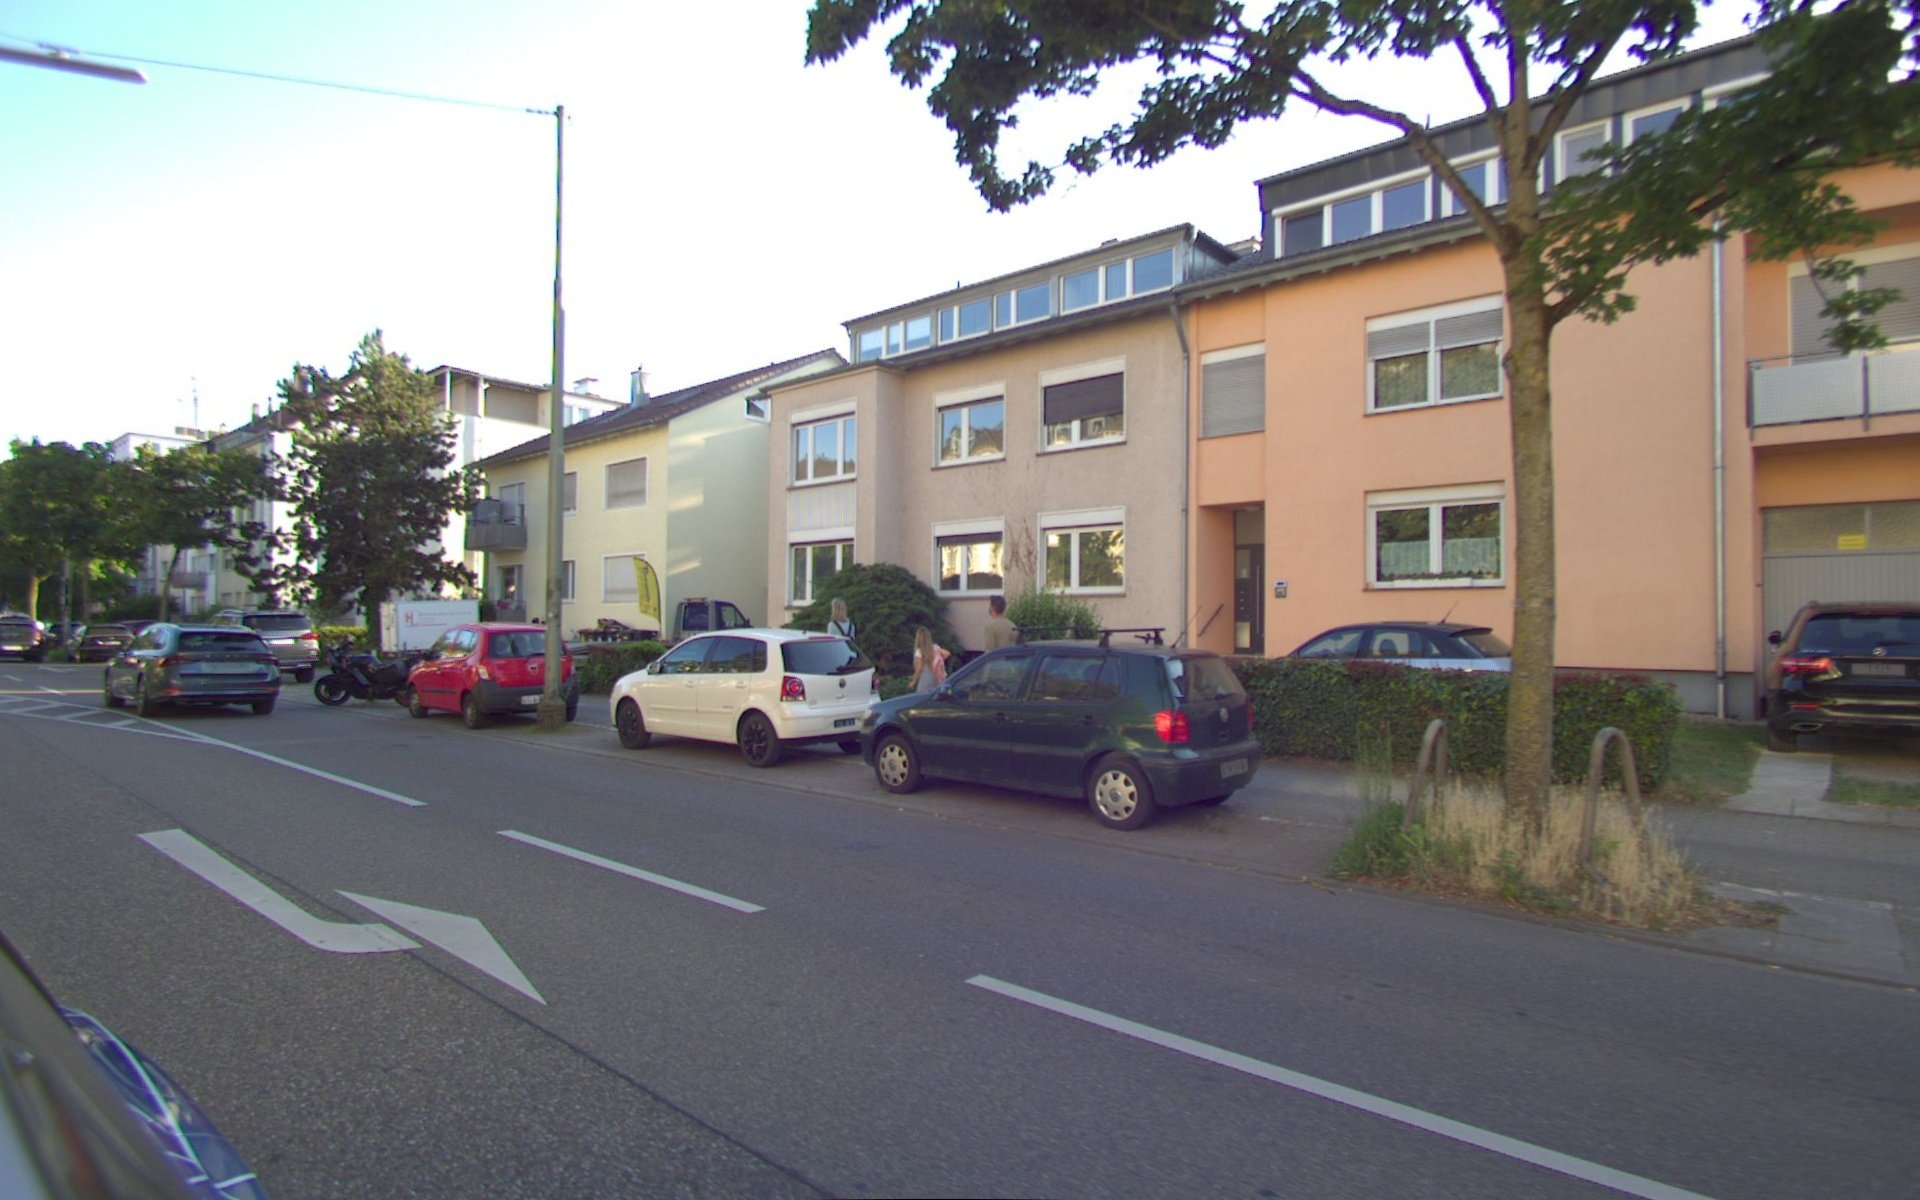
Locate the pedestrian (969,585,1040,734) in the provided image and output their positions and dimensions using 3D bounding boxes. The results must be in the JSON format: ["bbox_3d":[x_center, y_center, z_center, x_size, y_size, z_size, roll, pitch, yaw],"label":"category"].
[{"bbox_3d":[0.564,0.735,12.733,0.572,1.806,0.705,-1,-3,44],"label":"pedestrian"}]

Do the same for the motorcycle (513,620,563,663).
[{"bbox_3d":[-14.148,1.383,33.910,2.257,1.384,0.564,-1,-3,41],"label":"motorcycle"}]

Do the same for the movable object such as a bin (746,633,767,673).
[{"bbox_3d":[-5.523,1.433,27.463,0.349,1.046,0.430,-1,-3,41],"label":"movable object such as a bin"}]

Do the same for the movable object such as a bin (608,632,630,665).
[{"bbox_3d":[-10.968,1.560,32.521,0.450,1.026,0.497,-1,-3,40],"label":"movable object such as a bin"}]

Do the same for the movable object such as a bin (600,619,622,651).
[{"bbox_3d":[-11.337,1.137,32.882,0.450,1.026,0.497,-1,-3,40],"label":"movable object such as a bin"}]

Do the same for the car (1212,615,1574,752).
[{"bbox_3d":[5.183,0.932,12.390,3.752,1.420,1.646,-1,-3,43],"label":"car"}]

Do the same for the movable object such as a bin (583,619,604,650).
[{"bbox_3d":[-12.163,1.156,33.610,0.450,1.026,0.497,-1,-3,40],"label":"movable object such as a bin"}]

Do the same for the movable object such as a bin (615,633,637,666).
[{"bbox_3d":[-10.611,1.561,32.137,0.450,1.026,0.497,-1,-3,40],"label":"movable object such as a bin"}]

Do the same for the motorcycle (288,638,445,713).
[{"bbox_3d":[-10.767,1.335,18.383,2.350,1.276,1.176,0,-2,18],"label":"motorcycle"}]

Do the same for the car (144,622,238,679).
[{"bbox_3d":[-22.152,1.416,29.145,2.747,1.567,1.557,-1,-2,40],"label":"car"}]

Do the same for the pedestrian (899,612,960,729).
[{"bbox_3d":[-0.406,0.918,13.465,0.542,1.507,0.583,-1,-3,44],"label":"pedestrian"}]

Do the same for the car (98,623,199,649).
[{"bbox_3d":[-49.152,2.135,61.385,1.735,1.416,4.516,-1,0,31],"label":"car"}]

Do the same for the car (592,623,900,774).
[{"bbox_3d":[-2.666,1.044,12.152,3.888,1.535,1.577,-1,-2,40],"label":"car"}]

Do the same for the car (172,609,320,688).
[{"bbox_3d":[-17.988,1.168,25.415,4.722,1.793,1.868,-1,-2,40],"label":"car"}]

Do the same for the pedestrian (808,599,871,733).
[{"bbox_3d":[-1.687,0.909,14.164,0.506,1.806,0.705,-1,-3,44],"label":"pedestrian"}]

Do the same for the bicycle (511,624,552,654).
[{"bbox_3d":[-15.743,1.430,37.133,2.045,1.072,0.513,-1,-2,41],"label":"bicycle"}]

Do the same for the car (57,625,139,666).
[{"bbox_3d":[-31.844,1.638,37.339,4.441,1.418,1.620,-1,-2,41],"label":"car"}]

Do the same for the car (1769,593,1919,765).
[{"bbox_3d":[10.464,0.758,11.399,1.865,1.648,3.944,-1,0,42],"label":"car"}]

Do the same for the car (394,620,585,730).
[{"bbox_3d":[-7.454,1.088,15.905,3.437,1.535,1.575,-1,-2,44],"label":"car"}]

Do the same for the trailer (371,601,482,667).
[{"bbox_3d":[-17.156,1.094,32.602,1.551,2.029,2.746,-1,-2,39],"label":"trailer"}]

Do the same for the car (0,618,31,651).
[{"bbox_3d":[-54.501,1.933,57.732,4.190,1.823,1.717,-1,-2,41],"label":"car"}]

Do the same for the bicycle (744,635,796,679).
[{"bbox_3d":[-4.954,1.473,26.312,1.710,1.094,0.329,-1,-3,41],"label":"bicycle"}]

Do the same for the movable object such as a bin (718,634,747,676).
[{"bbox_3d":[-6.074,1.461,27.041,0.586,1.099,0.483,-1,-2,41],"label":"movable object such as a bin"}]

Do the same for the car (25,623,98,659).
[{"bbox_3d":[-39.722,1.791,44.729,3.997,1.497,1.838,-1,-3,40],"label":"car"}]

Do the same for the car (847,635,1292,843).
[{"bbox_3d":[0.821,1.029,8.847,3.664,1.407,1.527,-1,-2,41],"label":"car"}]

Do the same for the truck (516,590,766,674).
[{"bbox_3d":[-9.143,0.945,29.757,2.275,2.202,6.823,-1,-2,41],"label":"truck"}]

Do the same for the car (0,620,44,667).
[{"bbox_3d":[-34.118,1.518,35.925,3.998,1.582,1.816,-1,-4,41],"label":"car"}]

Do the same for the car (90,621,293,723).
[{"bbox_3d":[-12.789,1.127,16.737,4.531,1.463,1.742,-1,-5,41],"label":"car"}]

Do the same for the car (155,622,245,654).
[{"bbox_3d":[-38.785,1.933,51.678,1.686,1.535,3.422,-1,-2,42],"label":"car"}]

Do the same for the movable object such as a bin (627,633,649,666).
[{"bbox_3d":[-10.098,1.551,31.741,0.450,1.026,0.497,-1,-3,40],"label":"movable object such as a bin"}]

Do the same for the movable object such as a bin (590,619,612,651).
[{"bbox_3d":[-11.793,1.149,33.244,0.450,1.026,0.497,-1,-3,40],"label":"movable object such as a bin"}]
